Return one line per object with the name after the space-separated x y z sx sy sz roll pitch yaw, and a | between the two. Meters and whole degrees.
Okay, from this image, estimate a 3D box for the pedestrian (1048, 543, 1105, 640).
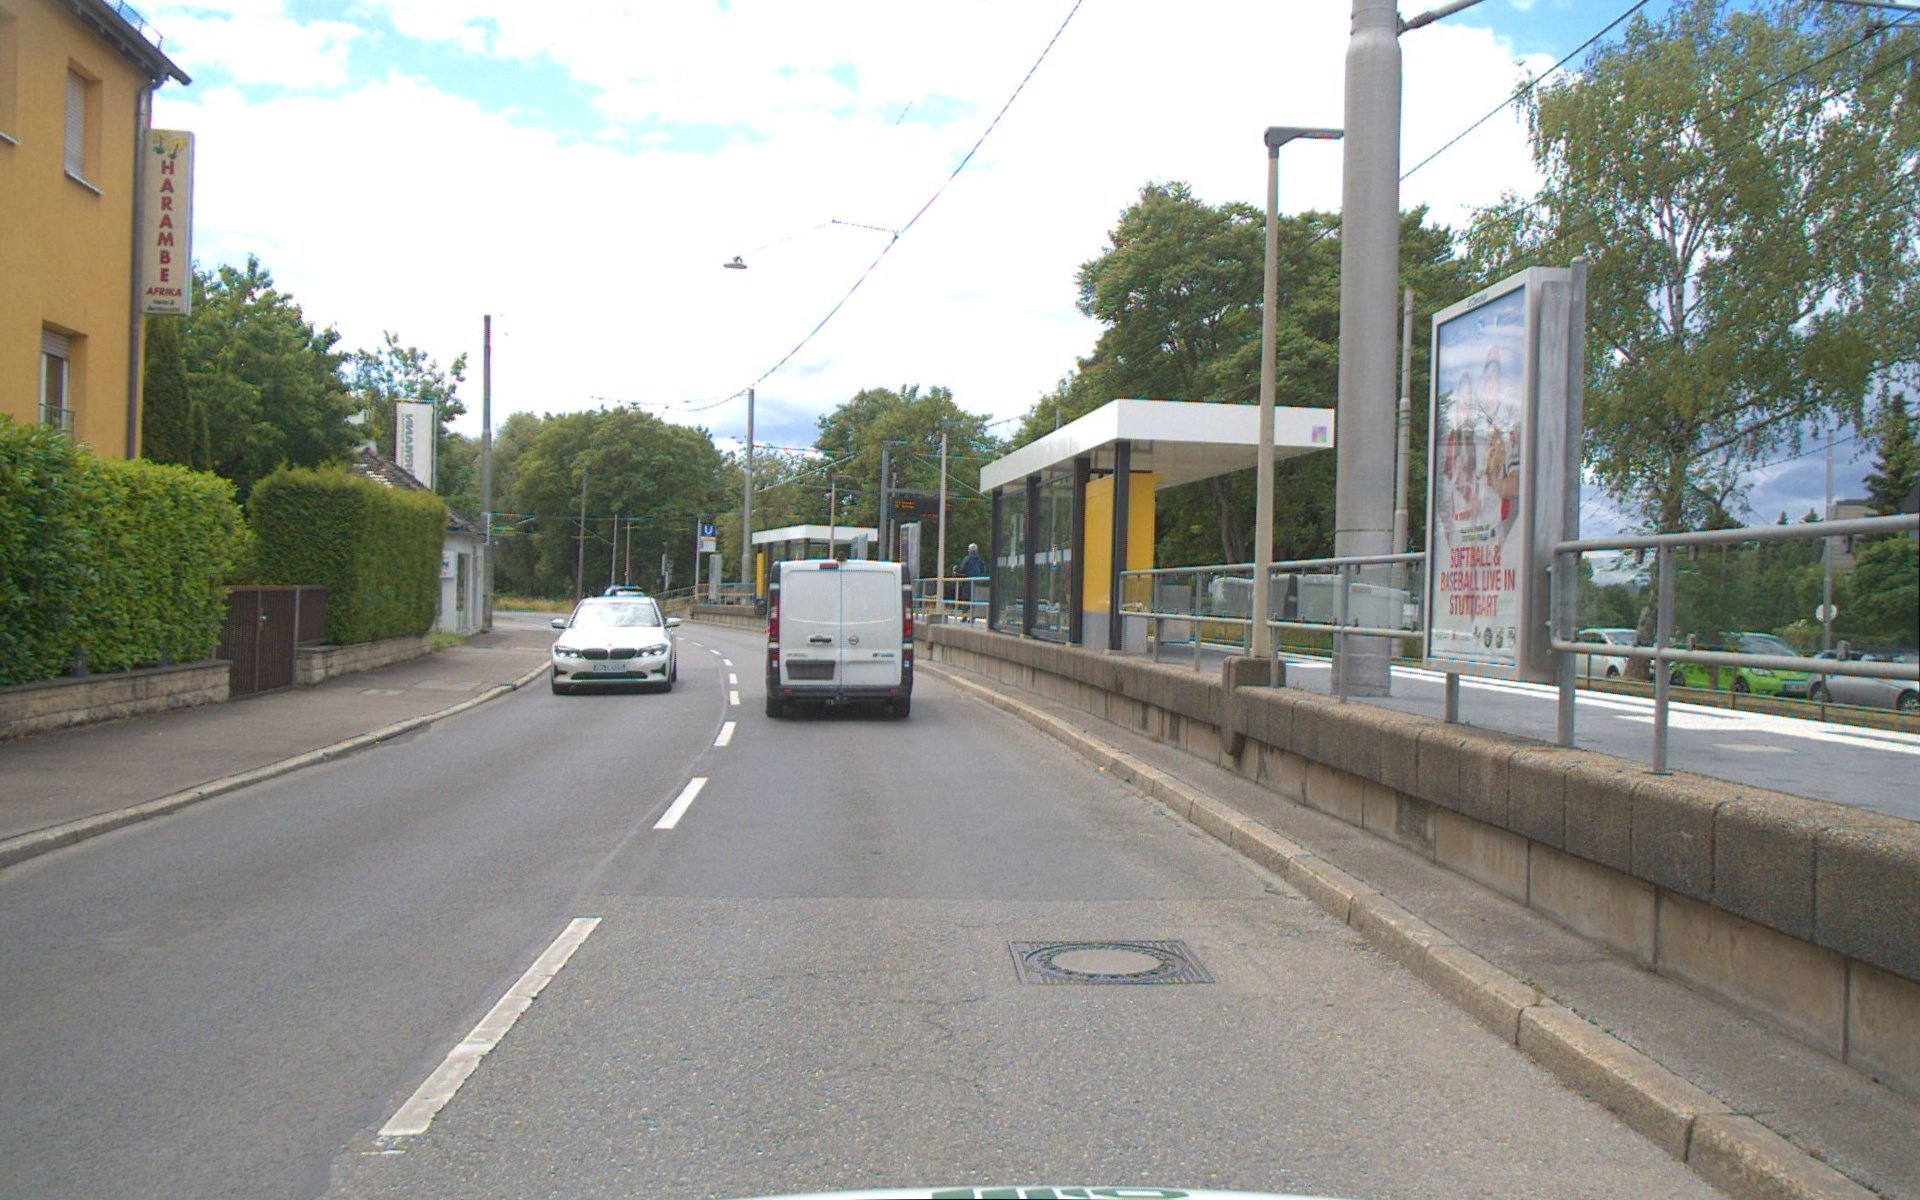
1.626 -0.123 23.223 0.609 1.321 0.718 2 0 -10 | pedestrian

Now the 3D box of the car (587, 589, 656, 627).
-15.470 0.339 75.500 2.322 1.591 4.344 3 -1 -21 | car

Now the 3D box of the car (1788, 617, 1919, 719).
16.506 1.156 28.529 2.023 1.601 4.256 2 0 -5 | car

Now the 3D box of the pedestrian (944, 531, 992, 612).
0.177 -0.607 35.842 0.869 1.700 0.908 2 0 -9 | pedestrian

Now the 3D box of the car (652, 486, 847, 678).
-2.664 -0.209 22.196 2.075 2.171 5.437 3 0 -3 | car

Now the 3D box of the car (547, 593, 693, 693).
-5.390 0.625 26.735 1.783 1.444 4.459 -1 0 -5 | car

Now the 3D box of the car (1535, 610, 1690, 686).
15.255 1.084 38.902 1.722 1.601 4.095 2 0 -5 | car

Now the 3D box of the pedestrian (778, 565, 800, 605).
-6.122 -0.546 59.195 0.628 1.429 0.761 1 1 -17 | pedestrian

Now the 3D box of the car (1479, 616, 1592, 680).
15.206 1.228 43.946 1.802 1.514 4.504 2 0 6 | car

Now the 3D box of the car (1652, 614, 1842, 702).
16.004 1.134 33.880 1.696 1.601 3.996 2 0 -5 | car
